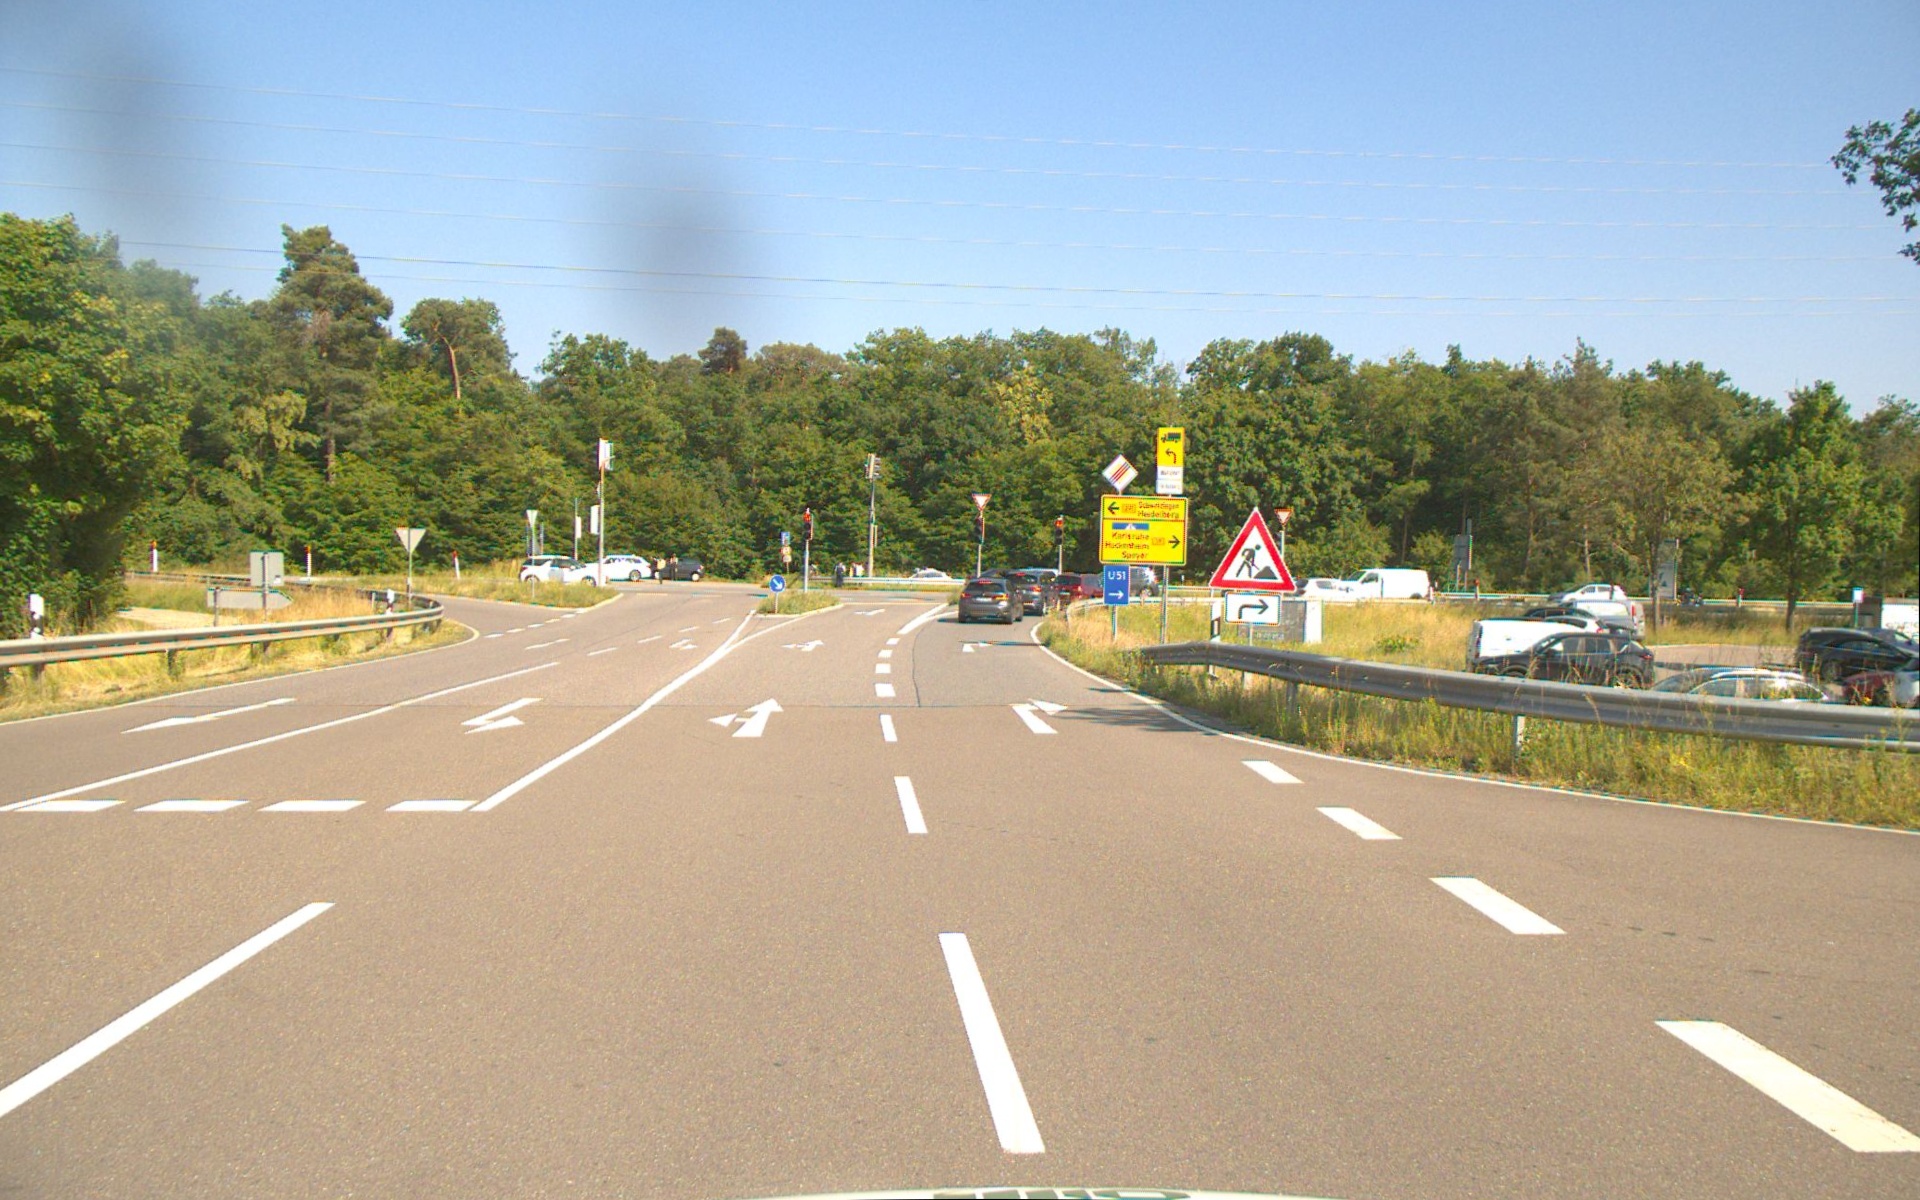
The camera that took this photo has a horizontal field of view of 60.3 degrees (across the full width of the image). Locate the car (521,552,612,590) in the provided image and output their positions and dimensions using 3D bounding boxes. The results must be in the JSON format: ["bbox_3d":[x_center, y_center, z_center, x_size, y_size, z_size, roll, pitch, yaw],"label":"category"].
[{"bbox_3d":[-17.471,-1.282,73.540,3.763,1.512,1.886,2,0,-10],"label":"car"}]

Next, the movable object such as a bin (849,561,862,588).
[{"bbox_3d":[-5.837,-1.412,92.562,0.589,1.514,0.732,-1,1,4],"label":"movable object such as a bin"}]

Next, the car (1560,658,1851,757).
[{"bbox_3d":[13.916,1.991,31.051,4.558,1.655,2.000,1,1,-1],"label":"car"}]

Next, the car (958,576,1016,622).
[{"bbox_3d":[0.916,-0.069,54.575,1.762,1.422,4.002,-1,1,3],"label":"car"}]

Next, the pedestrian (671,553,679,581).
[{"bbox_3d":[-18.076,-2.086,104.885,0.400,1.744,0.452,-1,0,-7],"label":"pedestrian"}]

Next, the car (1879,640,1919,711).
[{"bbox_3d":[25.204,1.964,40.567,4.263,1.617,2.001,3,1,16],"label":"car"}]

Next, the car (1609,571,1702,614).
[{"bbox_3d":[34.764,-0.375,82.745,3.913,2.048,1.797,0,2,-9],"label":"car"}]

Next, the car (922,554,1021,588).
[{"bbox_3d":[0.501,-1.338,76.468,4.285,1.485,1.995,-1,1,-10],"label":"car"}]

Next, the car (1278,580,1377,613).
[{"bbox_3d":[17.597,-0.173,79.273,4.152,1.485,1.995,-1,1,-10],"label":"car"}]

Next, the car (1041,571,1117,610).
[{"bbox_3d":[4.897,-0.386,67.360,1.764,1.527,3.997,2,1,25],"label":"car"}]

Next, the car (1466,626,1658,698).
[{"bbox_3d":[15.312,1.565,42.250,4.319,1.696,1.903,0,1,9],"label":"car"}]

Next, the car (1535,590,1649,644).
[{"bbox_3d":[25.574,0.676,66.962,3.921,1.909,1.884,4,1,36],"label":"car"}]

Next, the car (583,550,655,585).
[{"bbox_3d":[-20.376,-1.939,98.913,3.936,2.049,1.782,-1,1,-25],"label":"car"}]

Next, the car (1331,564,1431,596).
[{"bbox_3d":[22.401,-1.056,88.041,4.792,1.579,1.995,-1,1,-10],"label":"car"}]

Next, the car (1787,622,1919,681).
[{"bbox_3d":[28.980,1.649,53.389,3.908,1.608,1.890,4,1,24],"label":"car"}]

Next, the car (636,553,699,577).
[{"bbox_3d":[-18.707,-2.240,105.735,3.914,1.447,1.792,-1,1,-10],"label":"car"}]

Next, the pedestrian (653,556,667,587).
[{"bbox_3d":[-17.470,-1.665,96.401,0.744,1.751,0.676,0,1,-15],"label":"pedestrian"}]

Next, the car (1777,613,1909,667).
[{"bbox_3d":[31.268,1.392,58.686,3.908,1.608,1.787,4,1,24],"label":"car"}]

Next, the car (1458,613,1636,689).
[{"bbox_3d":[15.967,1.361,45.197,4.262,1.814,1.903,2,1,9],"label":"car"}]

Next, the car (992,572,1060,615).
[{"bbox_3d":[2.503,-0.264,61.832,1.761,1.527,4.003,1,1,13],"label":"car"}]

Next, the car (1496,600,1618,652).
[{"bbox_3d":[22.264,0.943,61.692,3.915,1.647,1.887,4,1,31],"label":"car"}]

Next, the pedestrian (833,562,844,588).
[{"bbox_3d":[-6.748,-1.408,91.951,0.512,1.415,0.514,-1,1,7],"label":"pedestrian"}]

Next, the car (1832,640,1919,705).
[{"bbox_3d":[25.287,1.952,42.978,4.263,1.472,2.001,3,1,16],"label":"car"}]
